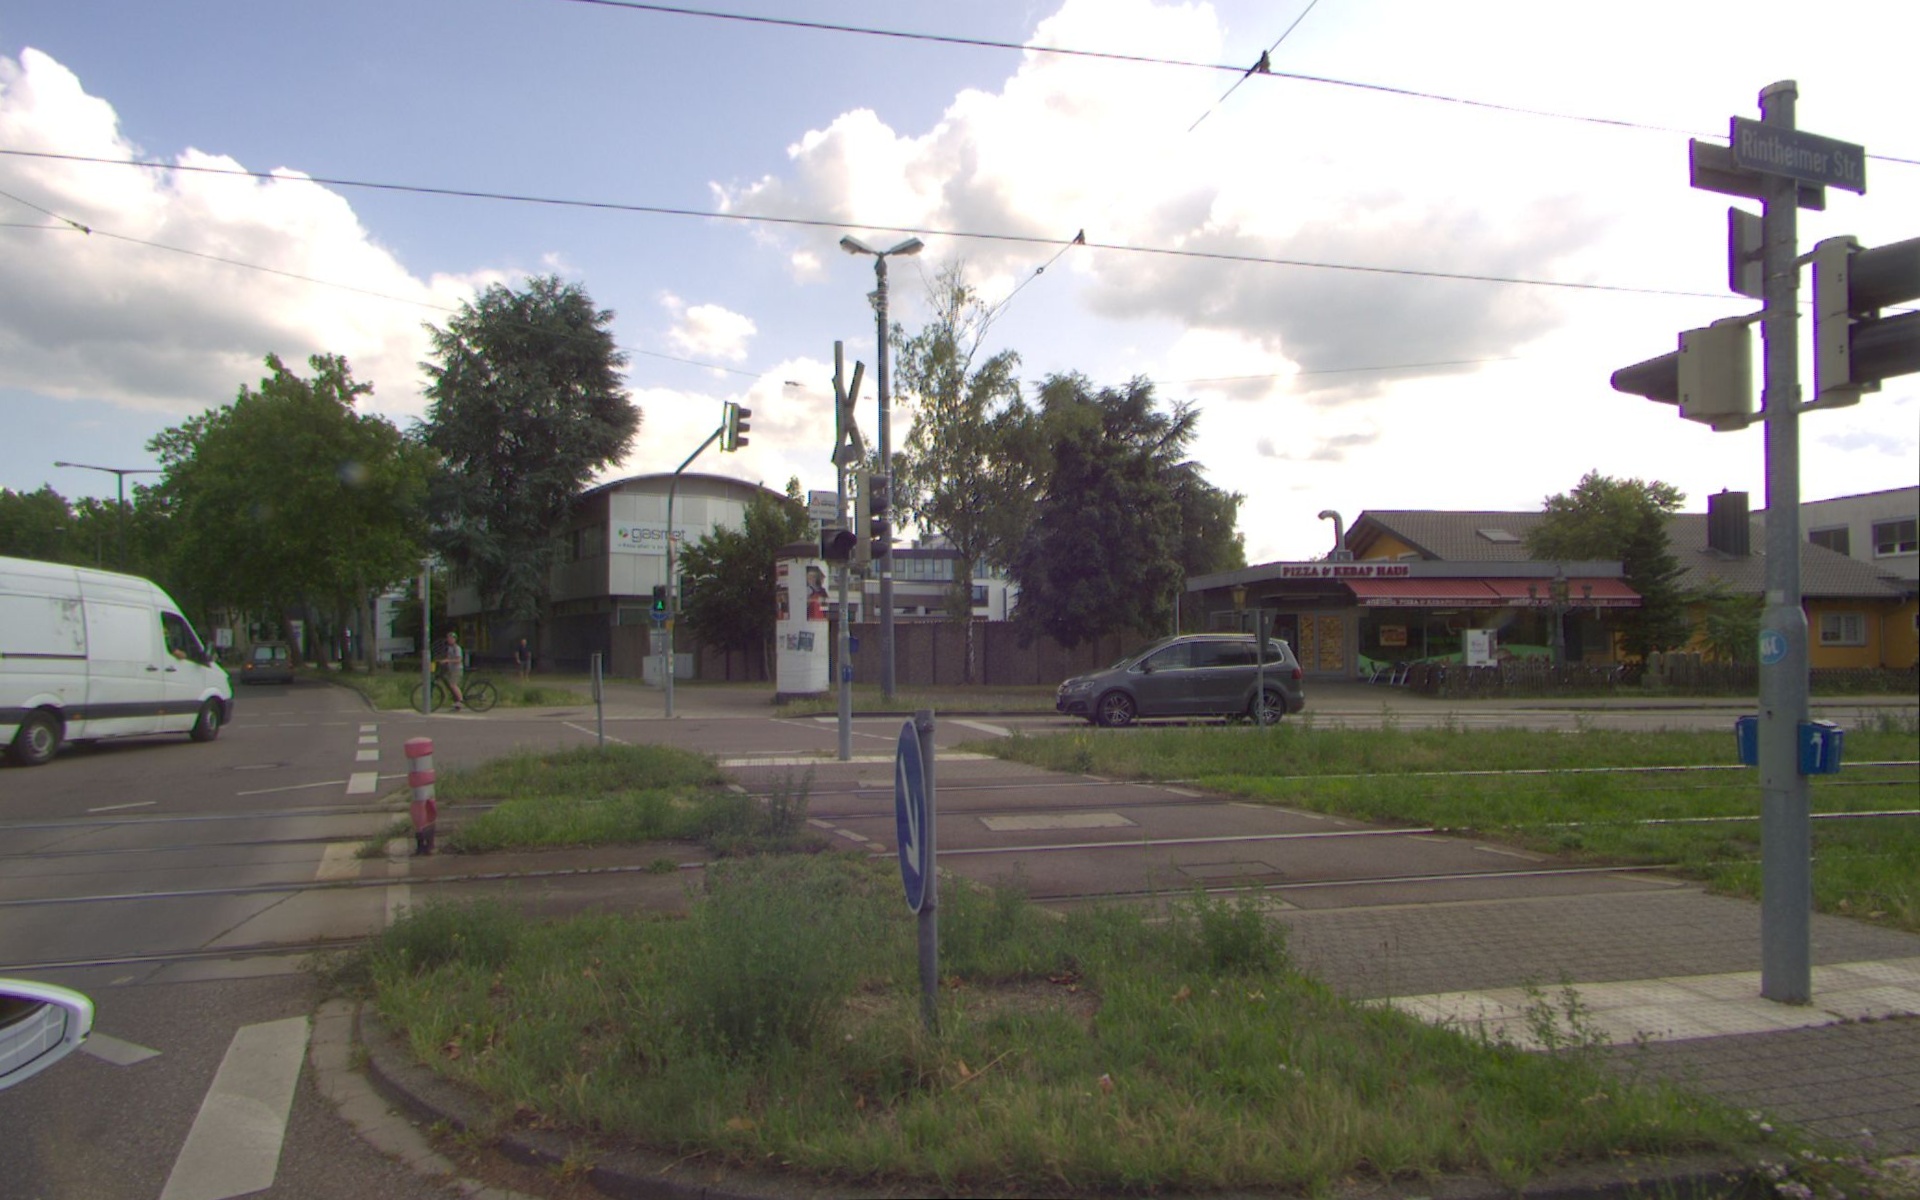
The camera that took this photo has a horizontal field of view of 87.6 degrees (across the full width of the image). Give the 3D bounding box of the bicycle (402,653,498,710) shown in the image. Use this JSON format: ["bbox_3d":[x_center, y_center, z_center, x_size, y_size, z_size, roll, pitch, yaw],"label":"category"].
[{"bbox_3d":[-11.635,1.844,22.913,1.921,1.252,0.539,1,0,-24],"label":"bicycle"}]

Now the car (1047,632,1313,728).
[{"bbox_3d":[4.171,1.510,19.469,4.649,1.743,2.001,0,-2,-5],"label":"car"}]

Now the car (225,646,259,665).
[{"bbox_3d":[-66.747,5.121,93.085,1.981,1.594,3.960,1,-1,-44],"label":"car"}]

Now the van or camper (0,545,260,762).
[{"bbox_3d":[-12.640,0.742,14.183,1.945,2.556,6.037,0,-2,-9],"label":"van or camper"}]

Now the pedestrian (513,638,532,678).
[{"bbox_3d":[-18.085,2.390,41.407,0.614,1.590,0.555,1,0,-33],"label":"pedestrian"}]

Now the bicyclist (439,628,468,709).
[{"bbox_3d":[-11.593,1.557,22.926,0.536,1.833,0.539,1,0,-24],"label":"bicyclist"}]

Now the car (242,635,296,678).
[{"bbox_3d":[-30.710,2.480,44.618,1.860,1.822,4.344,1,-3,-34],"label":"car"}]
